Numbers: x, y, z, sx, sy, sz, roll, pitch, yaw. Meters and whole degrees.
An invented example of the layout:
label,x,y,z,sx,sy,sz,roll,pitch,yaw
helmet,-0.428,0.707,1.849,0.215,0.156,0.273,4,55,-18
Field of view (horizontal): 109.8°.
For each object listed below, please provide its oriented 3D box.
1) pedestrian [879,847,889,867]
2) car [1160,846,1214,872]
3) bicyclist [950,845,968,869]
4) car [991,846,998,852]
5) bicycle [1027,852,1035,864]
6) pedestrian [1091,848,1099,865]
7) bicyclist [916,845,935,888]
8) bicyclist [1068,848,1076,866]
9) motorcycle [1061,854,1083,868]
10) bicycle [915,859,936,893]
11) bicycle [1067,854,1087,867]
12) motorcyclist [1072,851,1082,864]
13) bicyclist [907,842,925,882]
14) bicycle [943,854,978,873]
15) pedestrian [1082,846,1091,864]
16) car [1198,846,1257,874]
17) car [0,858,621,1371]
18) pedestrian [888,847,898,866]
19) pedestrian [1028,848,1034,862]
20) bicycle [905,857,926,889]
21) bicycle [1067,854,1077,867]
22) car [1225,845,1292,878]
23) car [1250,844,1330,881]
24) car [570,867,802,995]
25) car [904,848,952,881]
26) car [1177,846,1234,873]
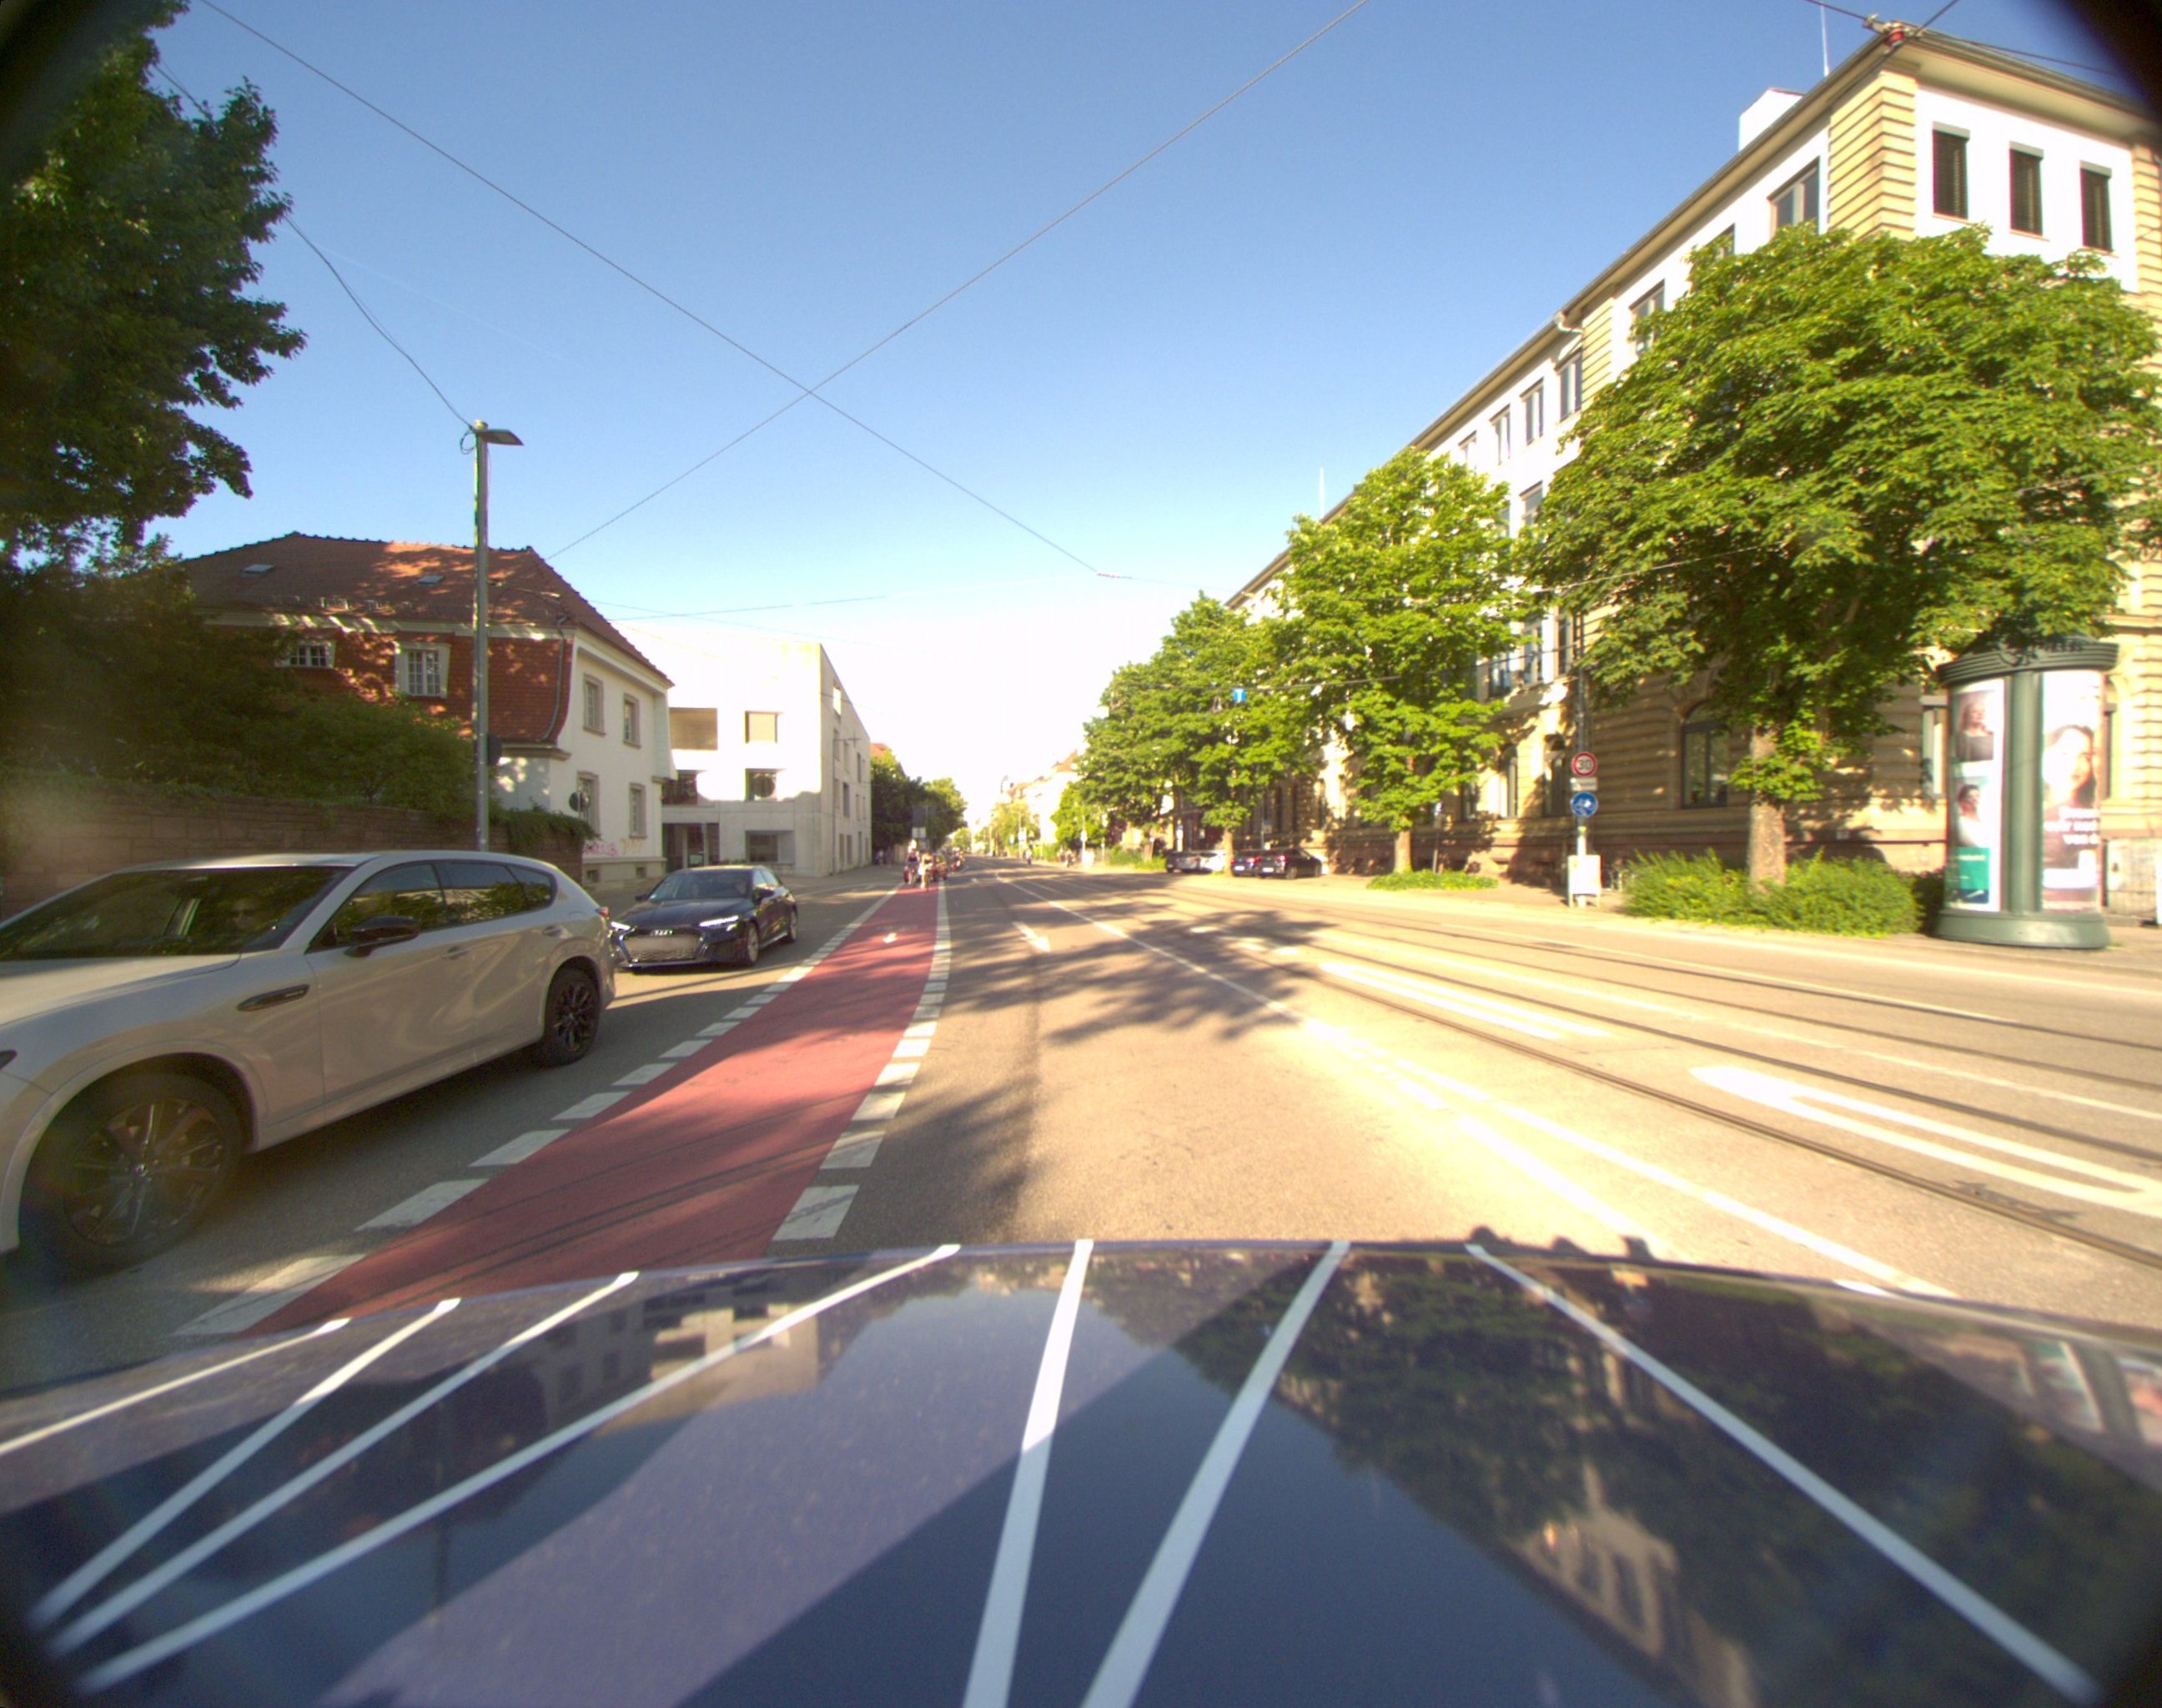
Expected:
label,x,y,z,sx,sy,sz,roll,pitch,yaw
pedestrian,-17.063,0.261,65.849,0.676,1.638,0.817,-1,1,-9
car,7.255,0.329,51.654,3.657,1.552,1.645,-3,1,-43
bicyclist,-8.176,0.199,50.942,0.674,1.638,1.031,1,1,43
car,-23.804,-1.316,208.853,1.650,1.552,3.646,-2,1,-12
bicycle,-5.782,0.453,88.228,0.676,1.243,2.457,-1,1,1
pedestrian,1.358,0.203,73.166,0.676,1.638,0.817,-1,1,-9
bicyclist,-6.071,0.470,29.694,0.676,1.638,1.028,0,1,-8
bicyclist,-0.841,0.255,71.357,0.675,1.638,1.030,0,1,7
motorcycle,-0.894,0.676,74.249,2.270,1.285,0.679,-3,1,-45
bicycle,-6.081,0.820,29.785,0.676,1.243,2.454,0,1,-8
bicycle,-0.392,0.646,74.921,0.674,1.243,2.462,1,1,37
motorcyclist,-0.387,0.376,74.927,0.674,1.243,0.855,1,1,37
bicyclist,-6.907,0.322,31.832,0.676,1.638,1.028,0,1,-8
bicycle,-8.081,0.619,51.051,0.674,1.243,2.462,1,1,43
pedestrian,0.547,0.101,73.129,0.676,1.638,0.817,-1,1,-9
car,8.906,0.359,46.012,3.657,1.552,1.645,-3,1,-43
car,-4.802,0.931,4.220,1.946,1.682,4.529,-2,1,-5
pedestrian,-16.290,0.231,65.873,0.676,1.638,0.817,-1,1,-9
pedestrian,-5.790,0.081,88.253,0.675,1.638,0.817,-1,1,0
bicycle,-6.921,0.769,31.882,0.676,1.243,2.454,0,1,-8
bicycle,-0.844,0.607,71.304,0.675,1.243,2.458,0,1,6
car,9.432,0.364,40.296,3.657,1.552,1.645,-3,1,-43
car,10.394,0.382,37.636,4.189,1.621,1.841,-3,1,-43
car,-5.636,0.986,11.463,1.789,1.425,3.997,-2,1,-8
car,-7.905,0.527,39.540,1.649,1.552,3.650,-2,1,2
car,7.929,0.359,48.243,3.657,1.552,1.645,-3,1,-43
